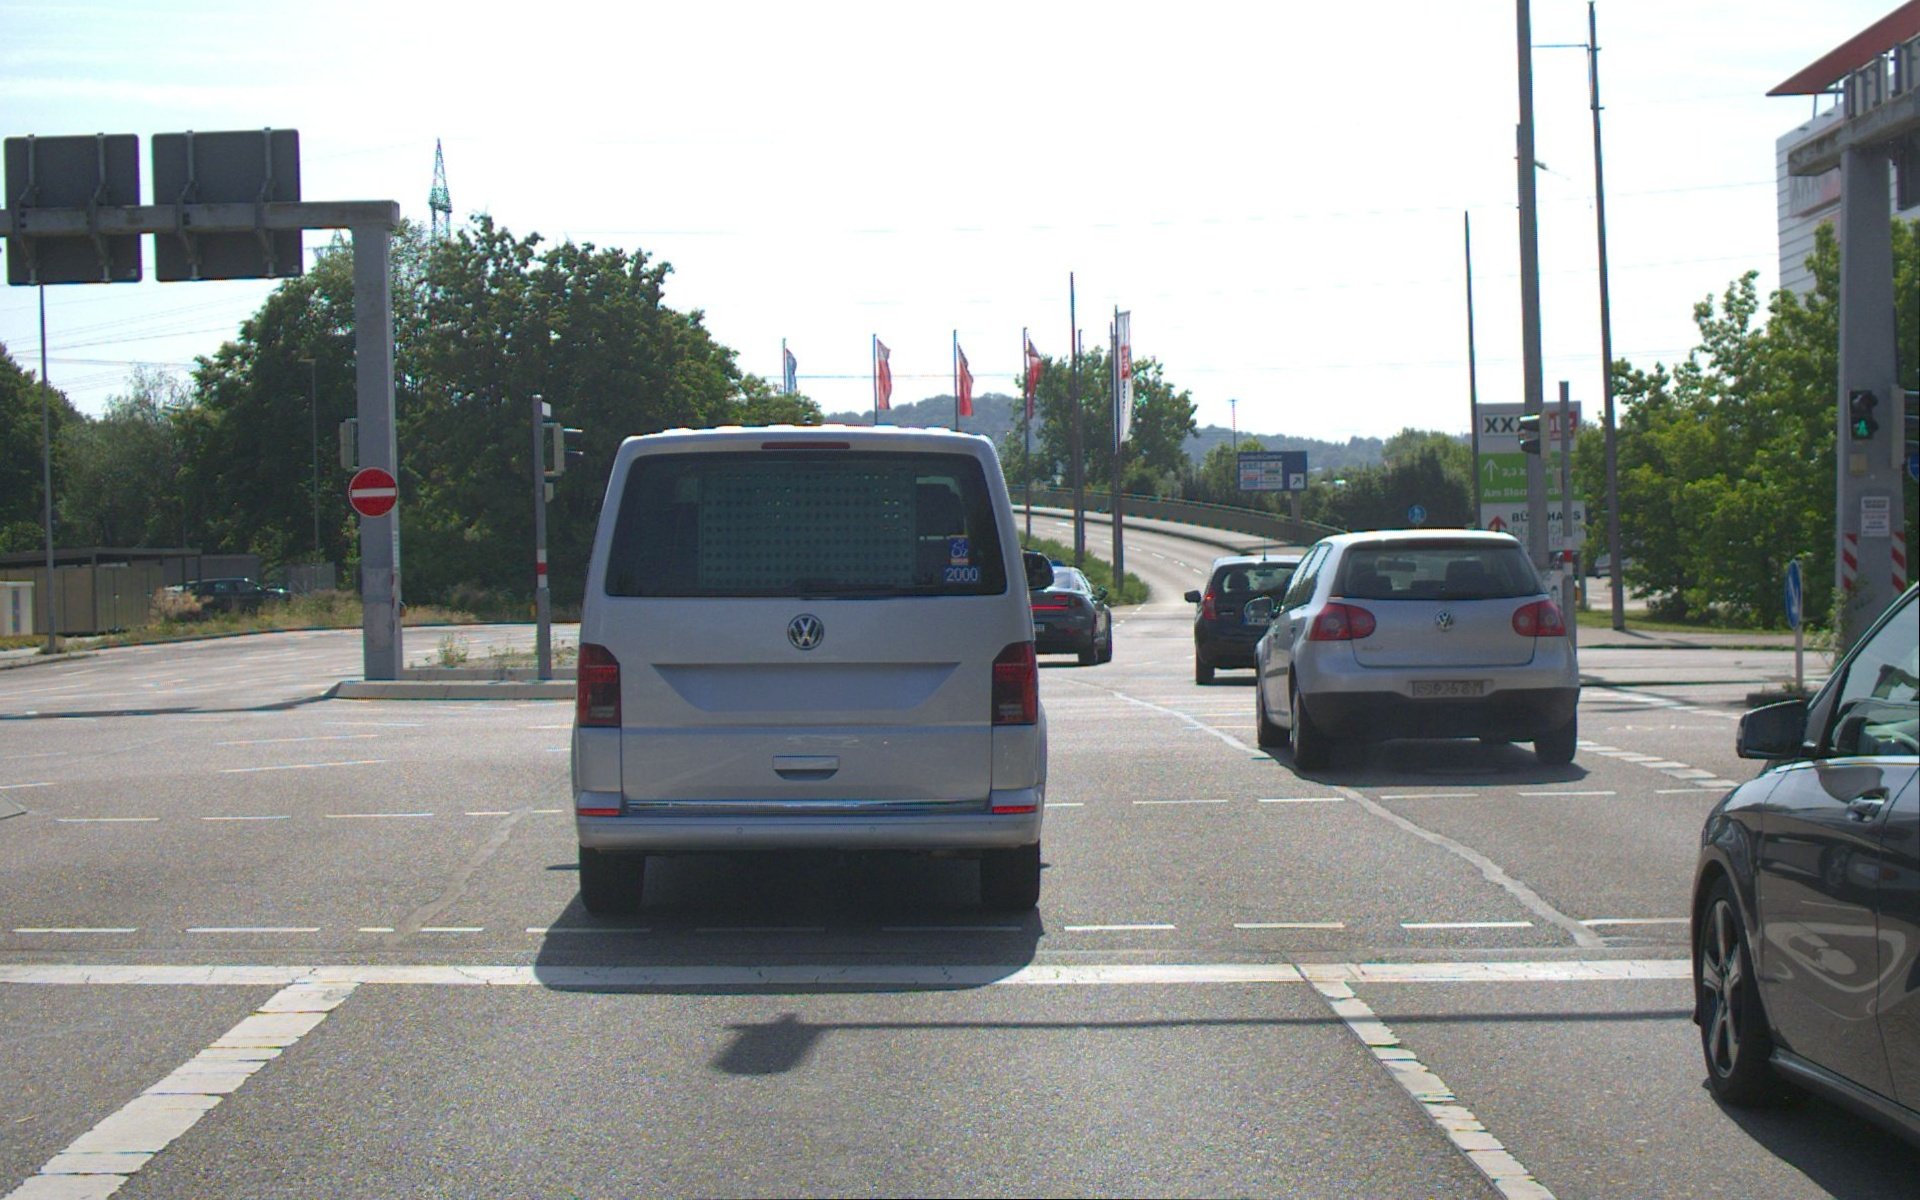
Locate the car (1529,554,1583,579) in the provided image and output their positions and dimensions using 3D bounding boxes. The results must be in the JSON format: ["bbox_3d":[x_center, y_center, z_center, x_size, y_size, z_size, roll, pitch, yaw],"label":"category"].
[{"bbox_3d":[35.864,-1.992,206.811,1.993,1.415,4.001,1,0,-9],"label":"car"}]

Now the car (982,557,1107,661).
[{"bbox_3d":[1.282,0.108,50.904,1.531,1.475,3.246,0,1,7],"label":"car"}]

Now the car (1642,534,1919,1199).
[{"bbox_3d":[2.853,0.626,7.614,1.773,1.533,4.138,0,1,-1],"label":"car"}]

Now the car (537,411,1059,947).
[{"bbox_3d":[-0.617,0.262,14.825,1.917,1.968,4.297,0,1,-1],"label":"car"}]

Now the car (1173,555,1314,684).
[{"bbox_3d":[3.433,0.198,41.182,1.531,1.475,3.595,0,1,7],"label":"car"}]

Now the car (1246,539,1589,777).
[{"bbox_3d":[2.868,0.319,22.233,1.666,1.409,3.682,0,1,-1],"label":"car"}]
